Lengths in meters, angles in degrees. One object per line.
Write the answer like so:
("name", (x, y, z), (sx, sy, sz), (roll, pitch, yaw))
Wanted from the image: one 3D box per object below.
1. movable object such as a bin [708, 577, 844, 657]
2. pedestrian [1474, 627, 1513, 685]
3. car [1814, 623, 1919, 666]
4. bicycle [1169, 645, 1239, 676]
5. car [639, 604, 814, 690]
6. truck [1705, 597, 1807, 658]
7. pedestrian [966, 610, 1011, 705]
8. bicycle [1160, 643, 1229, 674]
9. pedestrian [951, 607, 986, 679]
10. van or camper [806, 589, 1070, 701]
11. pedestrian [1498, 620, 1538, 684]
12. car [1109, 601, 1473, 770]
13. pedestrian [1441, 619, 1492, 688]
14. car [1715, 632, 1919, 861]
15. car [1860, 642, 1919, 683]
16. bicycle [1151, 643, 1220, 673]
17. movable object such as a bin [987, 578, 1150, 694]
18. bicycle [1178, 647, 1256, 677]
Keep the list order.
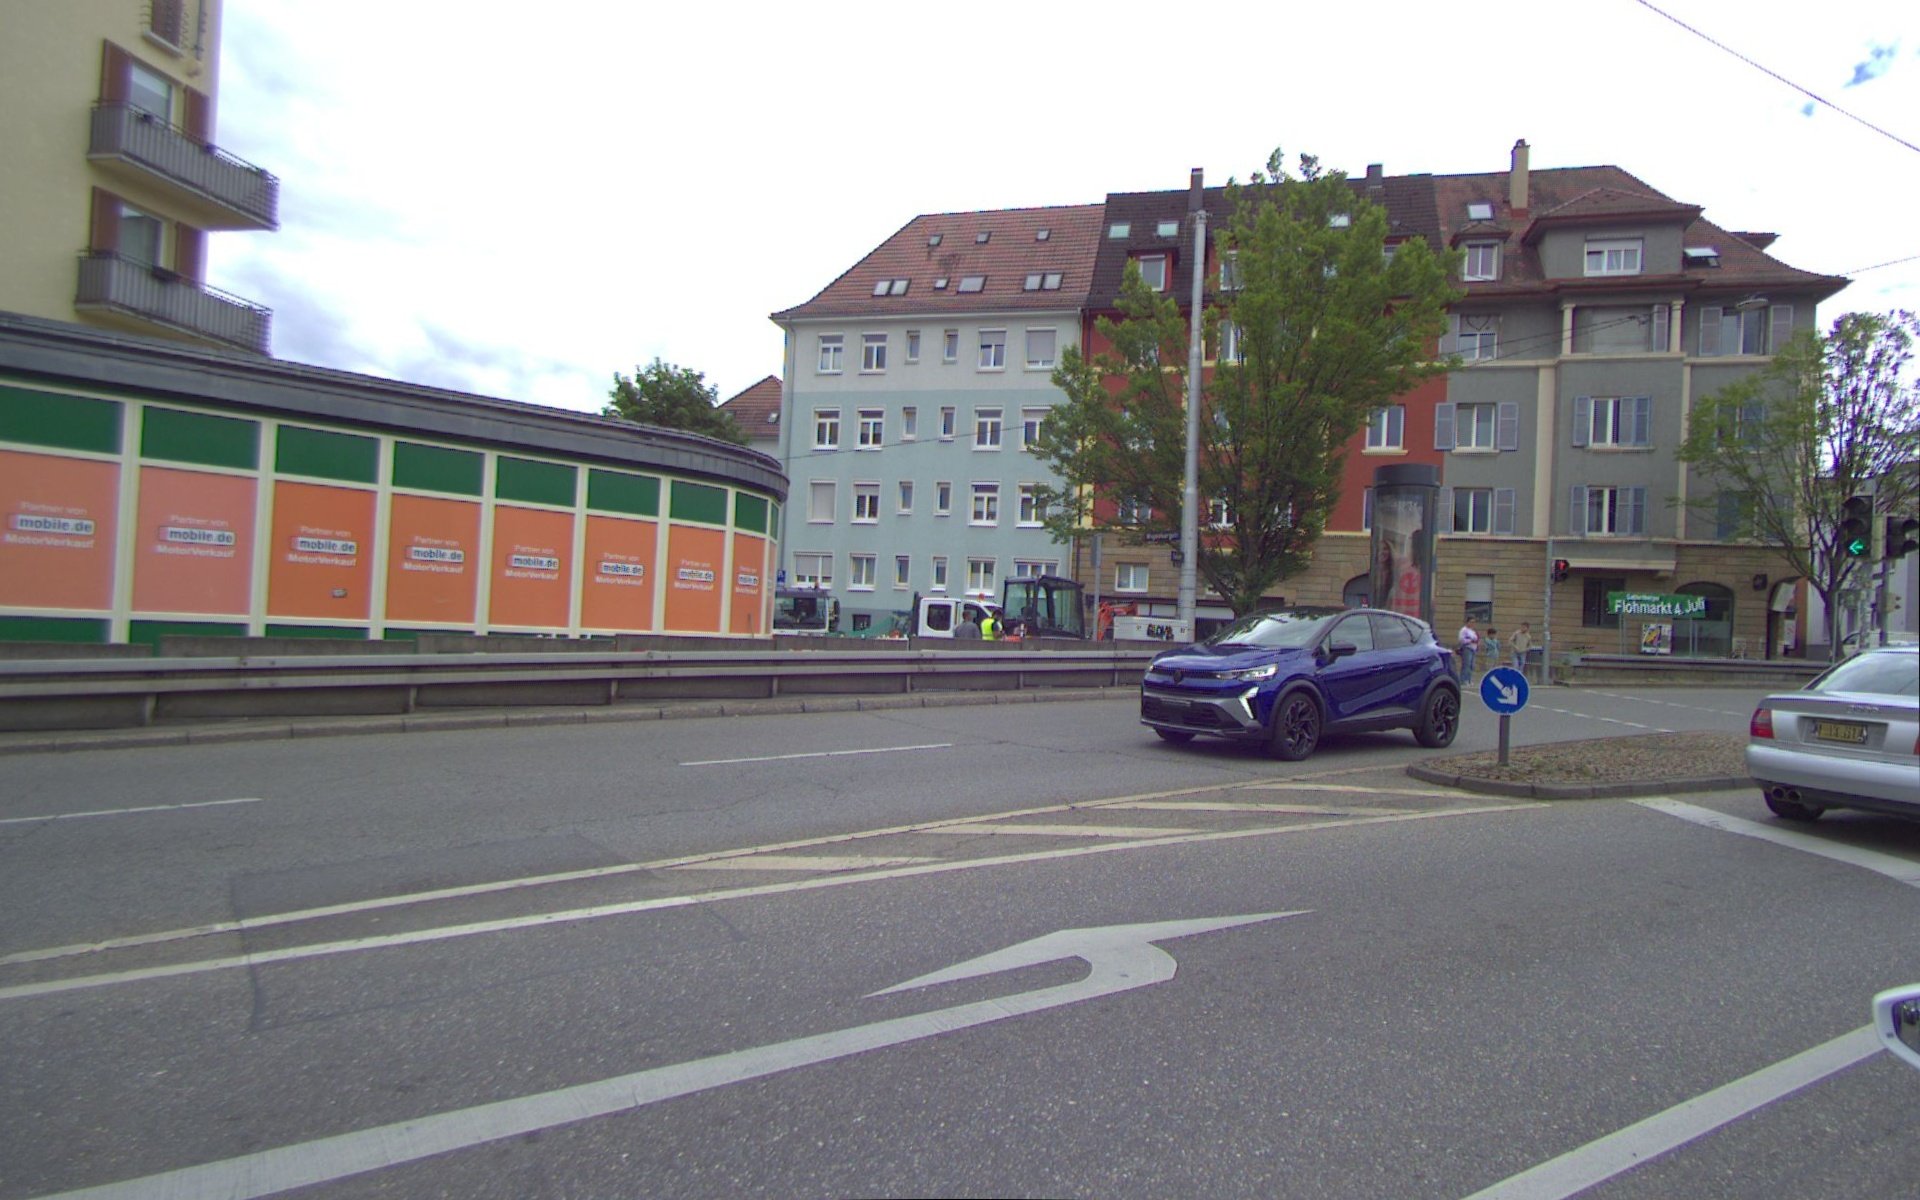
("movable object such as a bin", (-5.670, 0.462, 30.074), (2.365, 2.099, 6.211), (2, -1, -26))
("pedestrian", (12.756, 1.330, 24.018), (0.574, 1.356, 0.574), (1, 0, -14))
("car", (42.199, 2.029, 46.331), (2.023, 1.823, 4.337), (1, -1, 3))
("bicycle", (9.021, 2.222, 37.102), (2.623, 1.084, 0.631), (2, 0, -22))
("car", (-4.778, 0.912, 21.174), (1.959, 1.572, 4.002), (2, 0, 14))
("truck", (47.860, 1.577, 60.576), (2.645, 3.398, 5.441), (3, 0, 14))
("pedestrian", (0.641, 1.263, 22.353), (0.810, 2.040, 0.680), (1, 0, 15))
("bicycle", (8.798, 2.198, 37.711), (2.623, 1.084, 0.632), (2, 0, -21))
("pedestrian", (0.159, 0.844, 19.934), (0.614, 1.381, 0.601), (2, 0, -5))
("van or camper", (-0.508, 1.027, 24.758), (5.887, 2.369, 2.689), (2, 0, 19))
("pedestrian", (13.419, 1.235, 24.166), (0.642, 1.507, 0.522), (1, 0, -15))
("car", (3.765, 0.851, 11.209), (3.994, 1.552, 1.776), (2, 0, -34))
("pedestrian", (11.956, 1.251, 23.731), (0.726, 1.567, 0.793), (1, 0, -14))
("car", (7.756, 1.001, 7.542), (4.073, 1.383, 1.623), (2, 1, -26))
("car", (37.353, 2.451, 38.989), (1.843, 1.489, 3.978), (2, -1, 13))
("bicycle", (8.609, 2.205, 38.335), (2.623, 1.084, 0.632), (2, 0, -21))
("movable object such as a bin", (2.171, 0.673, 19.412), (1.359, 2.040, 3.518), (1, -1, 41))
("bicycle", (9.324, 2.253, 36.430), (2.793, 1.034, 0.815), (2, 0, -22))
